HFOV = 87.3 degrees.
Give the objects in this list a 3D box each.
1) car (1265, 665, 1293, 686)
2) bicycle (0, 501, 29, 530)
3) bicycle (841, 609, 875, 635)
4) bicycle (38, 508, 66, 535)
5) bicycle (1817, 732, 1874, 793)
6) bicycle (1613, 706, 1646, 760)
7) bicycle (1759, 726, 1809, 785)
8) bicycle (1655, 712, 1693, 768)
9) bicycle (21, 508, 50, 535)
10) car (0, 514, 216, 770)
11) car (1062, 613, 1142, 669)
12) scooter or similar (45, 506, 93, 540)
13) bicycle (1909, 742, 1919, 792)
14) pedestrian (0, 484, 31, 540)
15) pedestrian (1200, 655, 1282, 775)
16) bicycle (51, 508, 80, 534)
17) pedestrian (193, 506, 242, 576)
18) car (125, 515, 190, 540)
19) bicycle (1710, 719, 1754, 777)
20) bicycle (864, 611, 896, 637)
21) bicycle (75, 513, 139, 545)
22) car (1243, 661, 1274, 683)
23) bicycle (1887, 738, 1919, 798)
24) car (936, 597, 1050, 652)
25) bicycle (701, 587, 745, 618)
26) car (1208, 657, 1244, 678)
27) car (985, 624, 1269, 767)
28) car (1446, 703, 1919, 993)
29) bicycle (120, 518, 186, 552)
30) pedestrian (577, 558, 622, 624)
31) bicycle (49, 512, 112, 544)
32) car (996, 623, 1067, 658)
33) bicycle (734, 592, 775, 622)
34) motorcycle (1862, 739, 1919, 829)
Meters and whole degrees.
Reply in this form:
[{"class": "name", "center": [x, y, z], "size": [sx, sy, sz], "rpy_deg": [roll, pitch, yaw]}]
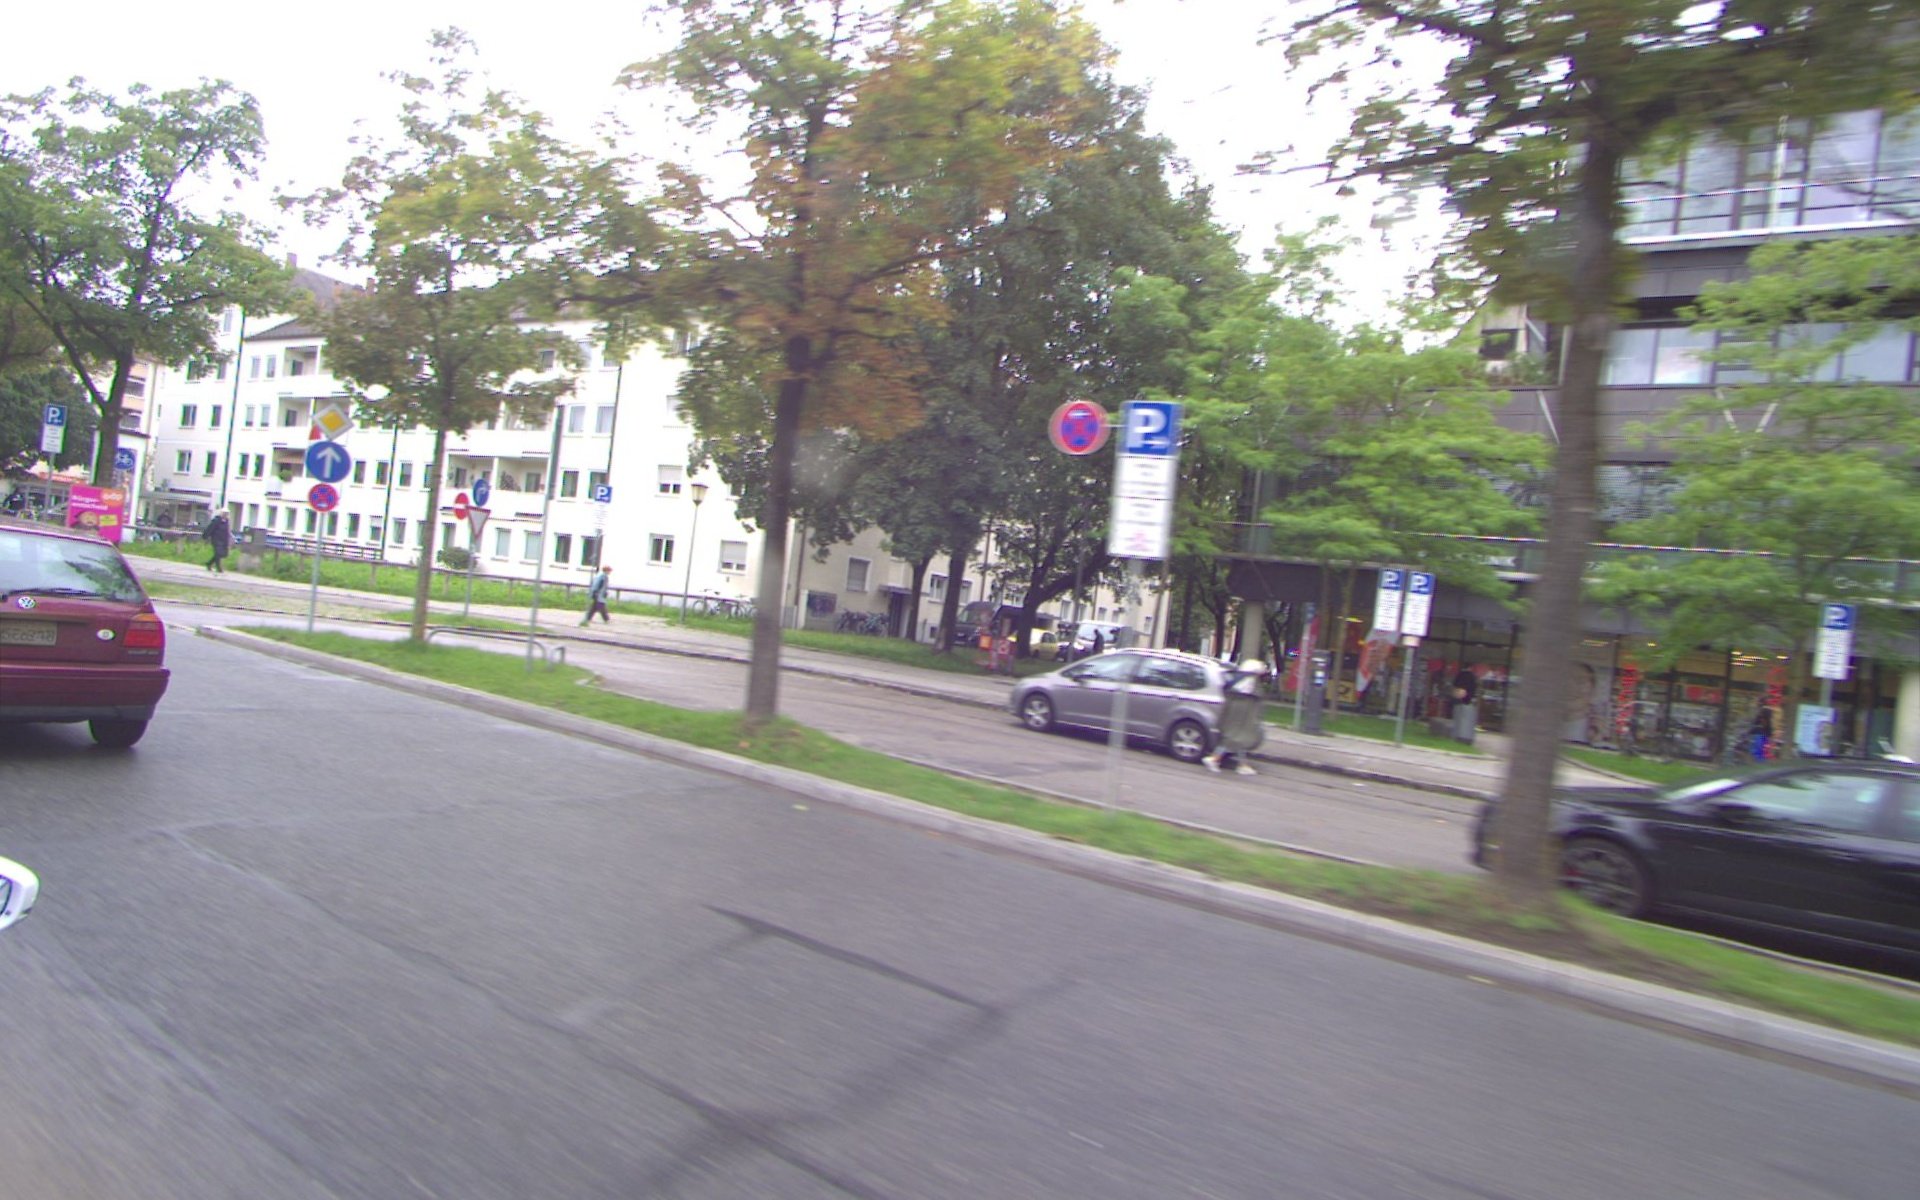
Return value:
[{"class": "car", "center": [23.638, 5.563, 74.458], "size": [1.556, 1.216, 3.749], "rpy_deg": [8, 0, 22]}, {"class": "bicycle", "center": [-41.567, -3.729, 44.217], "size": [1.853, 1.115, 0.431], "rpy_deg": [7, 1, 33]}, {"class": "bicycle", "center": [-4.253, 0.925, 41.938], "size": [0.448, 0.983, 1.695], "rpy_deg": [7, 0, 28]}, {"class": "bicycle", "center": [-40.836, -3.525, 45.226], "size": [1.853, 1.041, 0.431], "rpy_deg": [7, 1, 33]}, {"class": "bicycle", "center": [18.999, 3.462, 21.619], "size": [0.448, 1.133, 2.078], "rpy_deg": [7, -1, 32]}, {"class": "bicycle", "center": [15.701, 3.096, 23.605], "size": [0.448, 1.133, 2.078], "rpy_deg": [7, -1, 32]}, {"class": "bicycle", "center": [17.982, 3.372, 21.992], "size": [0.448, 1.133, 2.078], "rpy_deg": [7, -1, 32]}, {"class": "bicycle", "center": [16.298, 3.169, 22.992], "size": [0.448, 1.133, 2.078], "rpy_deg": [7, -1, 32]}, {"class": "bicycle", "center": [-41.143, -3.482, 44.767], "size": [1.853, 1.041, 0.431], "rpy_deg": [7, 1, 33]}, {"class": "car", "center": [-6.865, 0.070, 6.633], "size": [3.853, 1.399, 1.686], "rpy_deg": [6, -2, 31]}, {"class": "car", "center": [6.406, 1.835, 44.663], "size": [2.301, 2.078, 6.112], "rpy_deg": [7, 0, 18]}, {"class": "scooter or similar", "center": [-35.975, -3.106, 40.614], "size": [1.367, 1.215, 0.358], "rpy_deg": [6, 1, -11]}, {"class": "bicycle", "center": [23.114, 3.988, 23.259], "size": [1.527, 1.134, 0.455], "rpy_deg": [7, 0, 28]}, {"class": "pedestrian", "center": [-31.841, -2.954, 33.854], "size": [0.836, 1.772, 0.638], "rpy_deg": [7, 2, 38]}, {"class": "pedestrian", "center": [4.078, 1.663, 14.618], "size": [0.654, 1.614, 0.746], "rpy_deg": [6, 1, -39]}, {"class": "bicycle", "center": [-40.599, -3.588, 45.652], "size": [1.853, 1.041, 0.431], "rpy_deg": [7, 1, 33]}, {"class": "pedestrian", "center": [-19.995, -1.587, 27.097], "size": [0.589, 1.750, 0.642], "rpy_deg": [7, -1, 6]}, {"class": "car", "center": [-64.078, -5.775, 80.375], "size": [1.840, 1.434, 3.554], "rpy_deg": [7, -1, 30]}, {"class": "bicycle", "center": [17.134, 3.264, 22.362], "size": [0.448, 1.133, 2.078], "rpy_deg": [7, -1, 32]}, {"class": "bicycle", "center": [-3.435, 1.035, 43.513], "size": [0.448, 0.983, 1.695], "rpy_deg": [7, 0, 28]}, {"class": "bicycle", "center": [-34.308, -2.833, 40.474], "size": [0.425, 1.041, 1.880], "rpy_deg": [6, 0, 29]}, {"class": "car", "center": [19.794, 4.757, 66.630], "size": [1.556, 1.216, 3.749], "rpy_deg": [8, 0, 22]}, {"class": "bicycle", "center": [20.033, 3.528, 21.038], "size": [0.448, 1.133, 2.078], "rpy_deg": [7, -1, 32]}, {"class": "car", "center": [1.628, 1.187, 46.300], "size": [2.307, 2.023, 6.098], "rpy_deg": [7, 0, 32]}, {"class": "bicycle", "center": [-8.603, 0.103, 36.622], "size": [0.448, 0.983, 1.695], "rpy_deg": [7, 0, 28]}, {"class": "car", "center": [16.309, 4.107, 61.541], "size": [1.564, 1.028, 3.749], "rpy_deg": [8, 0, 22]}, {"class": "car", "center": [2.708, 1.495, 16.667], "size": [4.131, 1.654, 1.823], "rpy_deg": [7, 0, 34]}, {"class": "car", "center": [6.252, 1.827, 7.354], "size": [4.613, 1.448, 1.731], "rpy_deg": [6, -2, 31]}, {"class": "bicycle", "center": [-30.653, -2.468, 38.238], "size": [0.425, 1.041, 1.881], "rpy_deg": [6, 0, 26]}, {"class": "pedestrian", "center": [-9.376, -0.224, 26.169], "size": [0.767, 1.593, 0.580], "rpy_deg": [7, -1, 0]}, {"class": "bicycle", "center": [-36.392, -2.974, 41.641], "size": [0.425, 1.041, 1.880], "rpy_deg": [6, 0, 29]}, {"class": "car", "center": [3.144, 1.780, 43.795], "size": [1.558, 1.216, 3.744], "rpy_deg": [8, 0, 29]}, {"class": "bicycle", "center": [-7.801, 0.262, 38.213], "size": [0.448, 0.983, 1.695], "rpy_deg": [7, 0, 28]}, {"class": "motorcycle", "center": [15.156, 2.920, 15.338], "size": [1.916, 1.247, 0.472], "rpy_deg": [6, 3, 32]}]
